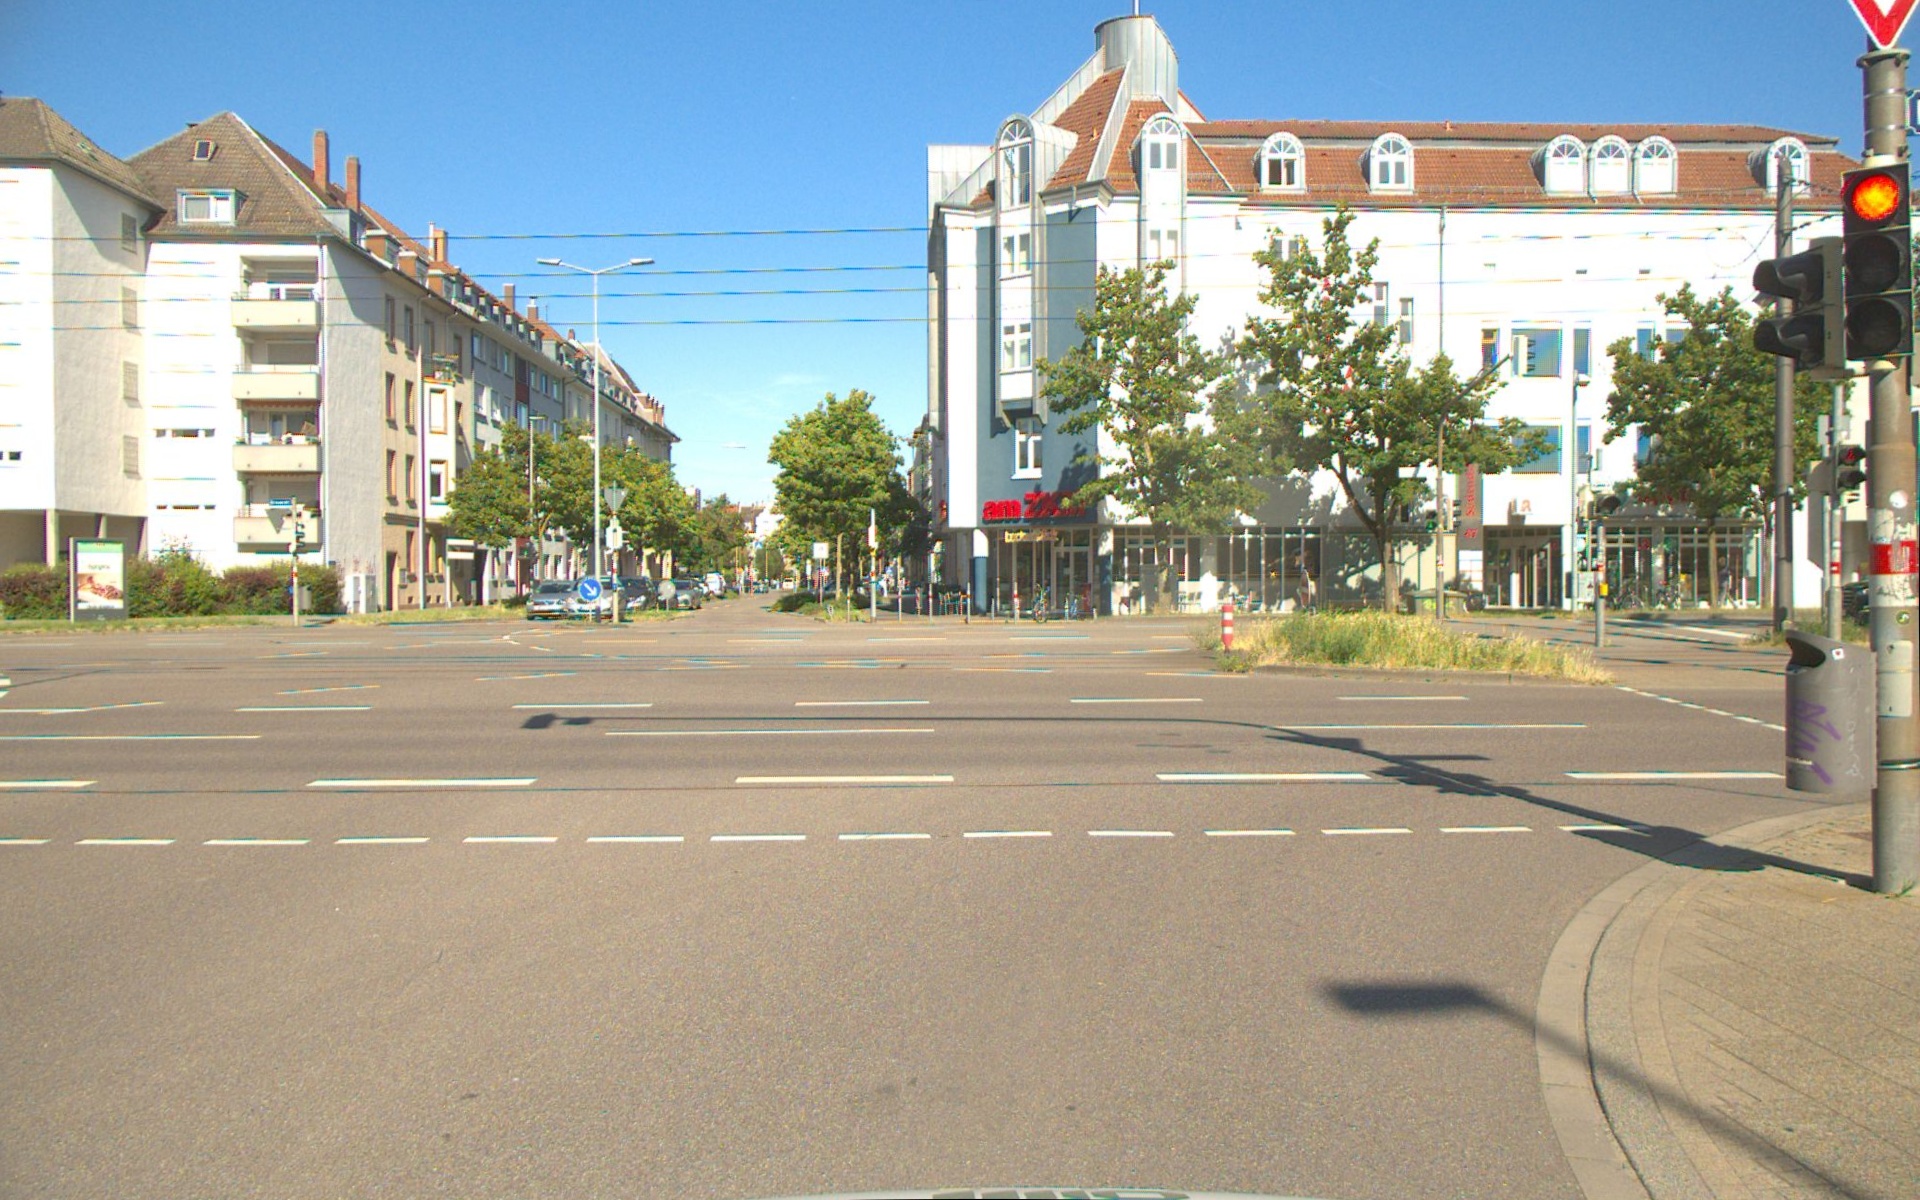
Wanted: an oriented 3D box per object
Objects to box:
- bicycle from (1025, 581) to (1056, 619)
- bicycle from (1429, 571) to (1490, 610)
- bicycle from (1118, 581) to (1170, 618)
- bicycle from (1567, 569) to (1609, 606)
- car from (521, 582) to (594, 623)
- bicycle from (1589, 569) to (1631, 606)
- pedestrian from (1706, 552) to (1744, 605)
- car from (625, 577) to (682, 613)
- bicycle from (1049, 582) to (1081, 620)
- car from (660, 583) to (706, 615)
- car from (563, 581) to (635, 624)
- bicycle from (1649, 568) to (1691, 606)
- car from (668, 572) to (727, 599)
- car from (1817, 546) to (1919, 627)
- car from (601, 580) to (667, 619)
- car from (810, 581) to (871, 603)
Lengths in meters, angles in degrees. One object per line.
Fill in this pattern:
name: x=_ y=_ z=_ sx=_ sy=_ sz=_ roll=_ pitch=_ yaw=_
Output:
bicycle: x=2.240 y=-0.007 z=46.300 sx=0.463 sy=1.045 sz=1.511 roll=-1 pitch=1 yaw=-13
bicycle: x=16.111 y=-0.310 z=53.379 sx=1.828 sy=1.203 sz=0.561 roll=-1 pitch=0 yaw=-7
bicycle: x=5.424 y=-0.015 z=48.705 sx=1.479 sy=1.045 sz=0.473 roll=-1 pitch=0 yaw=8
bicycle: x=20.781 y=-0.416 z=54.765 sx=0.549 sy=1.203 sz=1.868 roll=-1 pitch=1 yaw=-4
car: x=-15.376 y=0.067 z=63.406 sx=1.653 sy=1.457 sz=4.399 roll=2 pitch=0 yaw=0
bicycle: x=21.649 y=-0.432 z=55.114 sx=0.549 sy=1.203 sz=1.868 roll=-1 pitch=1 yaw=-4
pedestrian: x=25.842 y=-0.721 z=55.898 sx=0.970 sy=1.753 sz=0.654 roll=-1 pitch=0 yaw=-4
car: x=-13.442 y=-0.227 z=72.832 sx=1.653 sy=1.457 sz=4.399 roll=2 pitch=0 yaw=0
bicycle: x=2.976 y=0.027 z=46.854 sx=0.463 sy=1.045 sz=1.510 roll=-1 pitch=1 yaw=-14
car: x=-13.694 y=-0.061 z=81.865 sx=1.654 sy=1.457 sz=4.398 roll=2 pitch=0 yaw=-2
car: x=-13.139 y=0.068 z=60.430 sx=1.653 sy=1.457 sz=4.399 roll=2 pitch=0 yaw=0
bicycle: x=23.501 y=-0.438 z=54.782 sx=0.549 sy=1.203 sz=1.869 roll=-1 pitch=1 yaw=-1
car: x=-20.518 y=-1.156 z=129.532 sx=4.417 sy=2.049 sz=1.998 roll=0 pitch=-1 yaw=-5
car: x=20.634 y=-0.303 z=34.570 sx=4.405 sy=1.637 sz=2.002 roll=-1 pitch=1 yaw=7
car: x=-13.113 y=-0.024 z=66.817 sx=1.653 sy=1.457 sz=4.401 roll=2 pitch=0 yaw=1
car: x=-7.176 y=-0.466 z=99.072 sx=3.502 sy=1.244 sz=1.727 roll=0 pitch=0 yaw=-10
